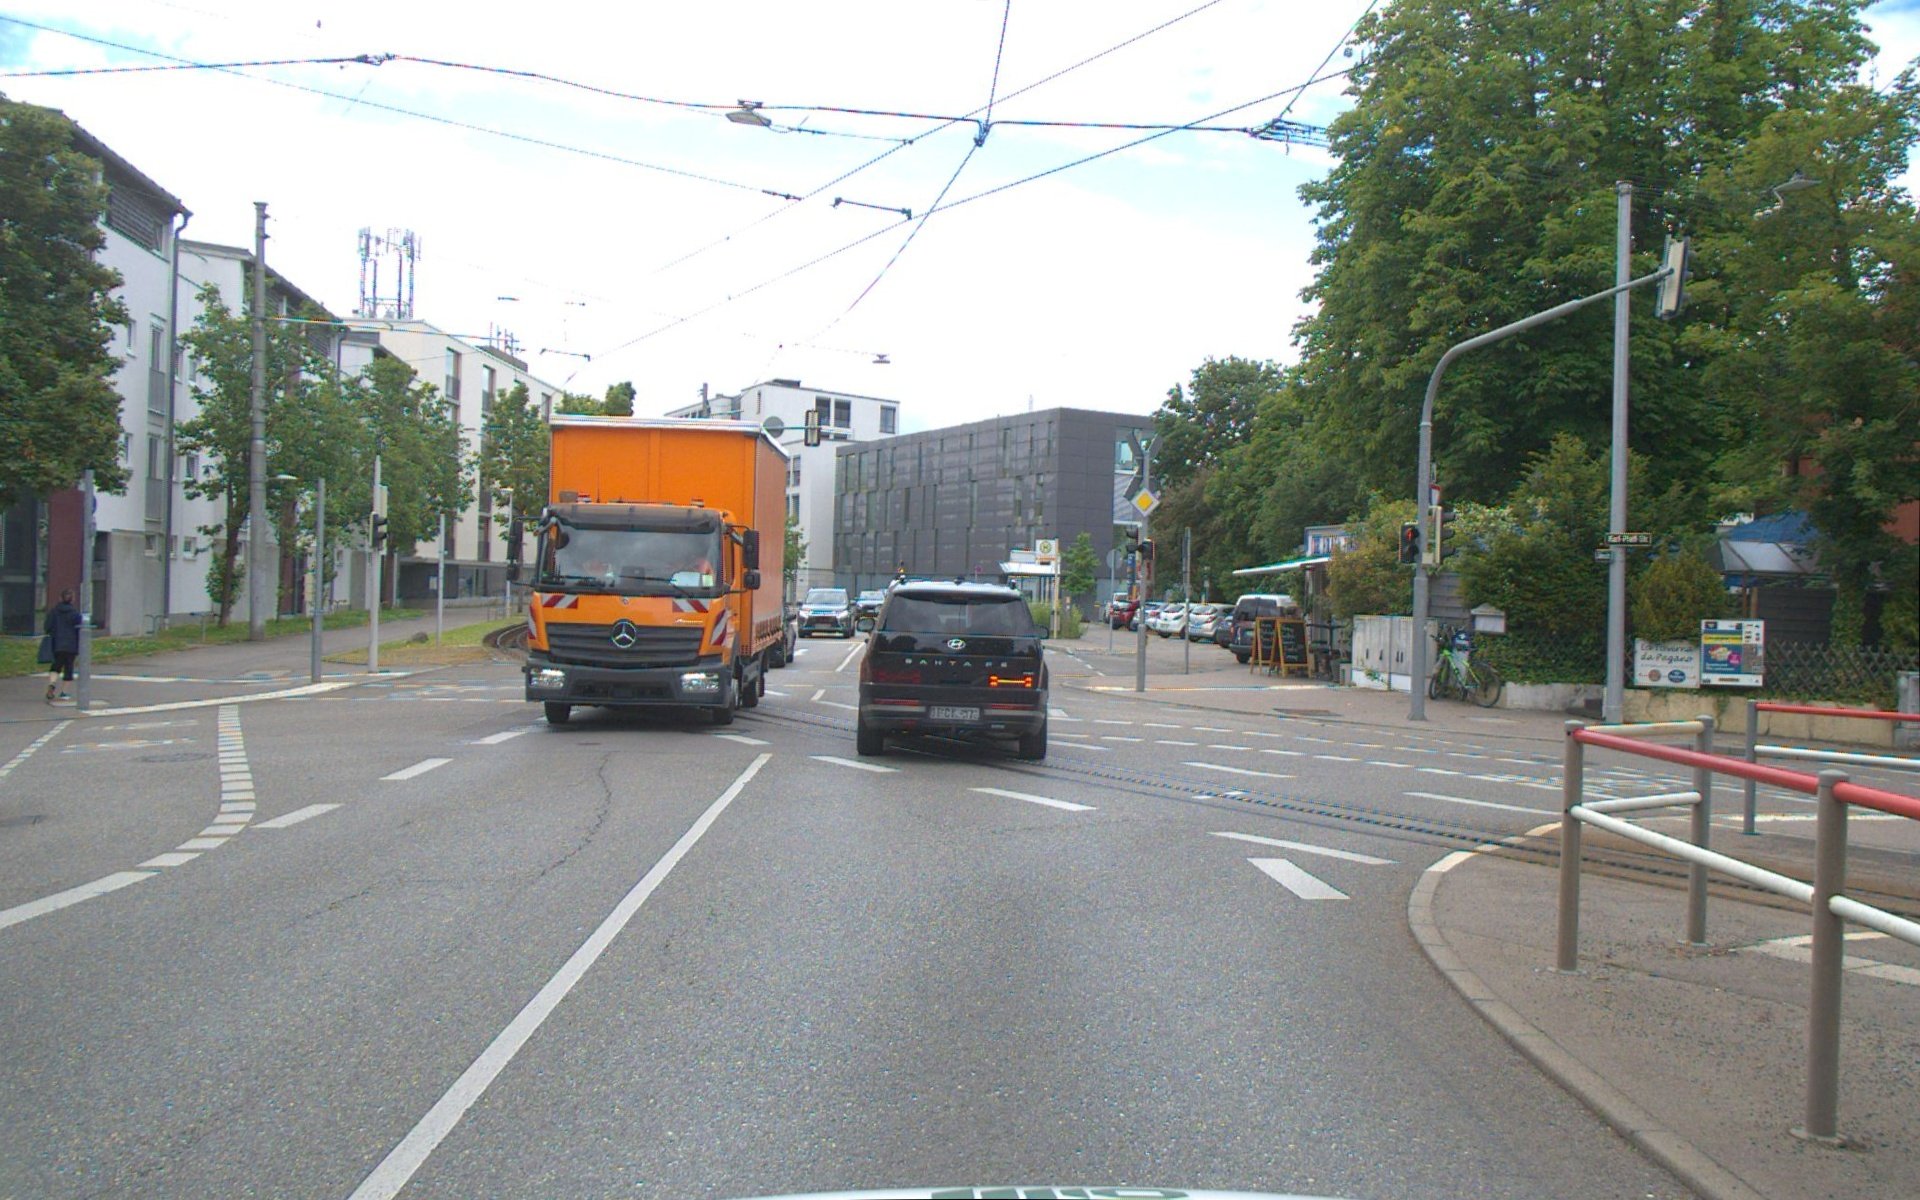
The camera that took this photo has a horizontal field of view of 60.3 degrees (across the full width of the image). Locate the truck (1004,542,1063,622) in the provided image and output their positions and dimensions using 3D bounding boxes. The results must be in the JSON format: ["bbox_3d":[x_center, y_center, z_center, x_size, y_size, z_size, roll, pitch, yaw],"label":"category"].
[{"bbox_3d":[3.450,-0.859,79.420,2.520,3.586,7.811,1,0,1],"label":"truck"}]

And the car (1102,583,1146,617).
[{"bbox_3d":[9.210,-0.010,93.113,1.953,1.870,4.517,0,0,-1],"label":"car"}]

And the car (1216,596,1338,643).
[{"bbox_3d":[10.941,0.672,56.988,3.950,1.503,1.859,2,0,-33],"label":"car"}]

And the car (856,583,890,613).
[{"bbox_3d":[-4.759,-0.118,91.030,1.704,1.586,4.182,1,0,-2],"label":"car"}]

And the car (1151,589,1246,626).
[{"bbox_3d":[9.692,0.299,67.258,3.597,1.460,1.577,0,-1,-28],"label":"car"}]

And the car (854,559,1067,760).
[{"bbox_3d":[-0.101,0.525,17.327,1.877,1.755,4.168,3,0,-3],"label":"car"}]

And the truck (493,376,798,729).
[{"bbox_3d":[-3.823,-0.536,22.193,2.713,3.784,8.465,-1,0,-2],"label":"truck"}]

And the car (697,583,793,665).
[{"bbox_3d":[-4.297,0.449,33.513,1.641,1.532,3.731,-1,0,-3],"label":"car"}]

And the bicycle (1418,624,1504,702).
[{"bbox_3d":[8.828,1.097,29.226,0.538,1.158,1.873,2,4,-13],"label":"bicycle"}]

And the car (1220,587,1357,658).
[{"bbox_3d":[8.989,0.564,44.958,1.815,1.779,4.676,2,1,36],"label":"car"}]

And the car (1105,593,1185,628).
[{"bbox_3d":[8.773,0.484,78.473,3.453,1.480,1.665,3,-1,-29],"label":"car"}]

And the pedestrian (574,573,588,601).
[{"bbox_3d":[-23.846,-0.801,104.029,0.601,1.724,0.785,2,-1,-1],"label":"pedestrian"}]

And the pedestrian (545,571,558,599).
[{"bbox_3d":[-25.334,-0.945,102.610,0.601,1.724,0.785,2,-1,-1],"label":"pedestrian"}]

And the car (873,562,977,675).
[{"bbox_3d":[-0.767,0.313,33.016,1.819,2.069,4.434,1,1,-4],"label":"car"}]

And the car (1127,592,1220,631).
[{"bbox_3d":[9.452,0.529,73.272,3.753,1.499,1.779,4,-1,-31],"label":"car"}]

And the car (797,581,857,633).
[{"bbox_3d":[-4.559,0.212,57.060,1.752,1.690,4.276,1,0,-1],"label":"car"}]

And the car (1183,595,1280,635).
[{"bbox_3d":[10.235,0.566,62.352,3.471,1.402,1.531,0,2,-32],"label":"car"}]

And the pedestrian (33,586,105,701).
[{"bbox_3d":[-13.373,0.637,24.855,0.662,1.673,0.818,0,2,-6],"label":"pedestrian"}]
